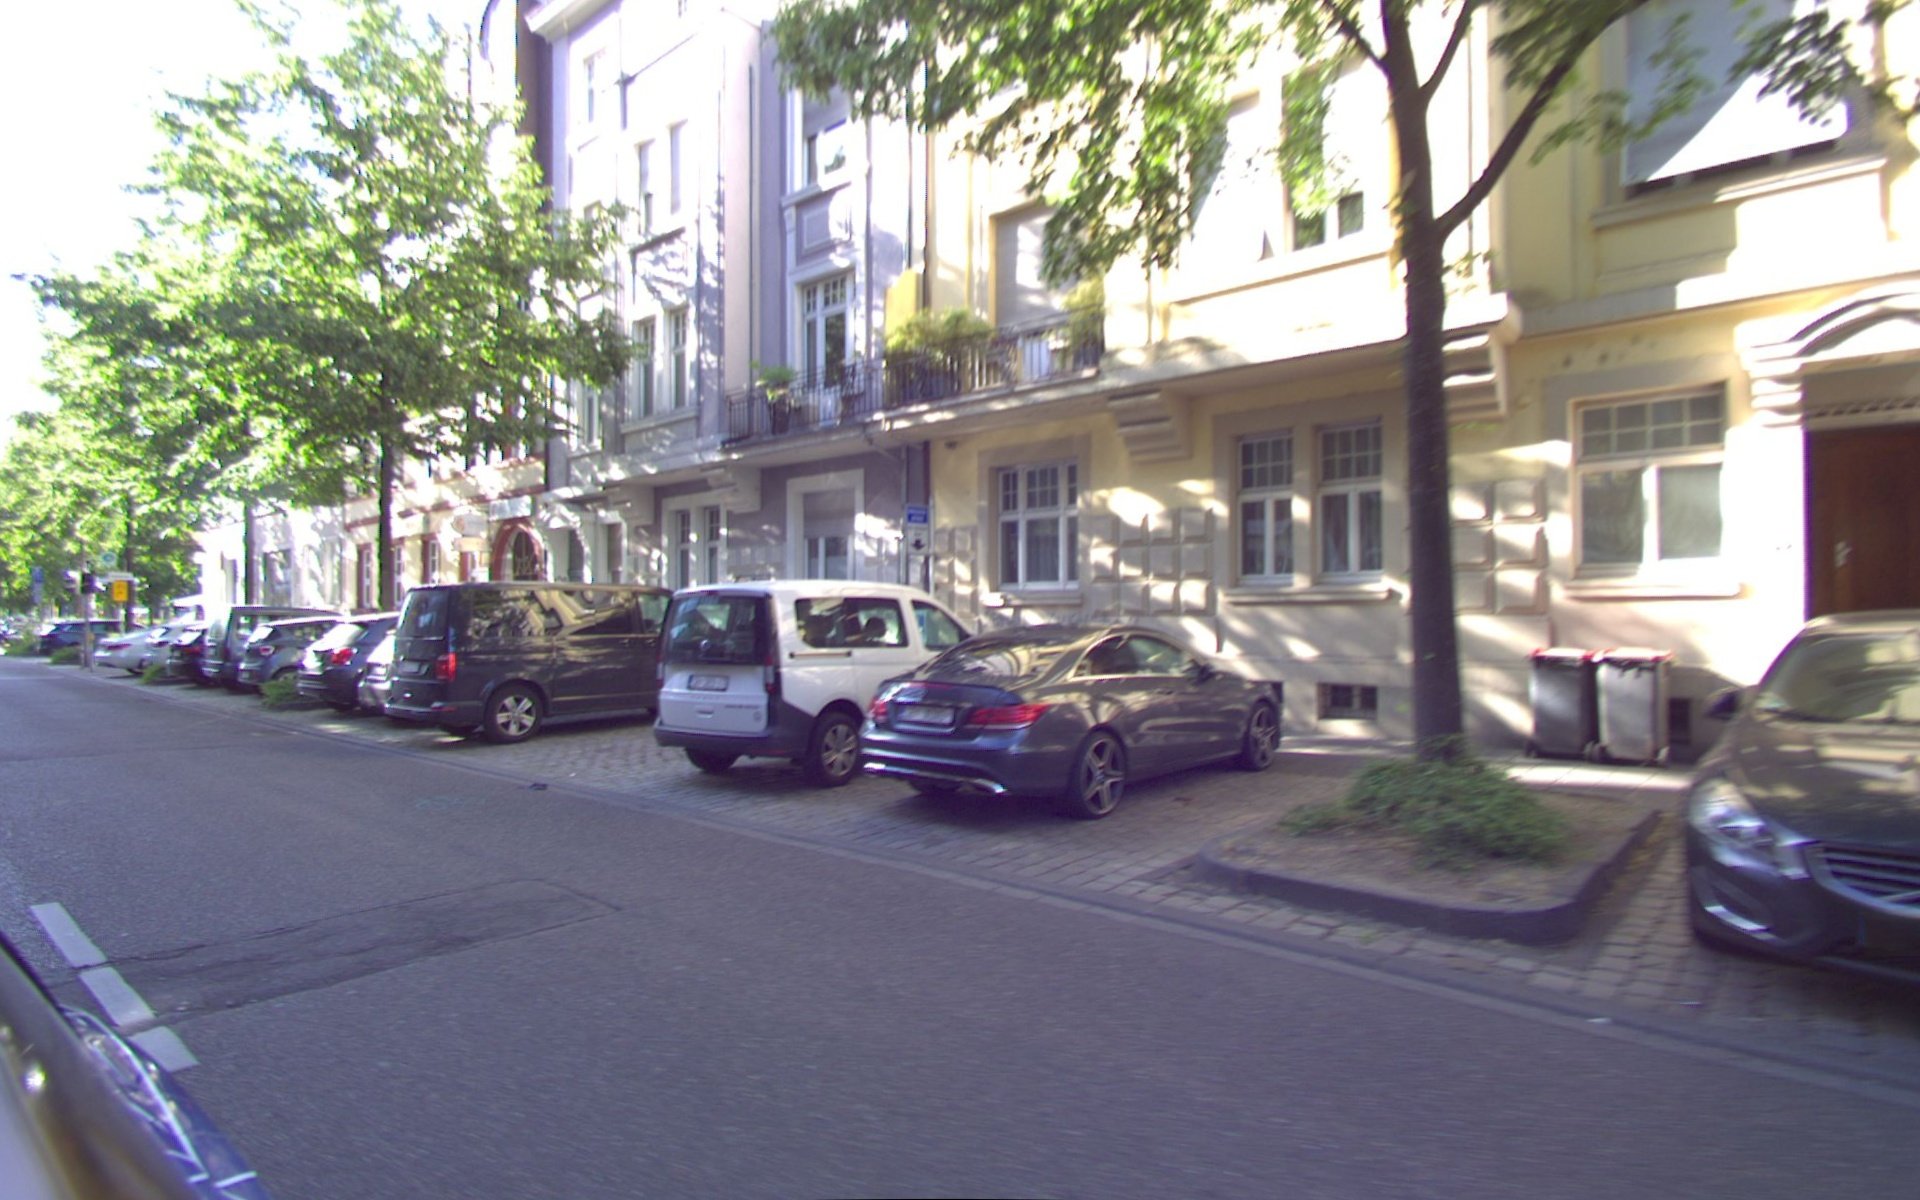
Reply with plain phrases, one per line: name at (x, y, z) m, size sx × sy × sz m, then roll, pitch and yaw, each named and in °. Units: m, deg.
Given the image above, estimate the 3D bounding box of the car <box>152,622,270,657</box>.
car at (-42.902, 2.295, 58.143) m, size 2.055 × 1.959 × 5.301 m, roll -1°, pitch -3°, yaw 15°

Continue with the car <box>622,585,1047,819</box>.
car at (-1.033, 0.854, 10.324) m, size 1.912 × 1.848 × 4.301 m, roll -1°, pitch -2°, yaw 35°

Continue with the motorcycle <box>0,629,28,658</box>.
motorcycle at (-49.238, 2.210, 51.622) m, size 2.282 × 1.434 × 1.004 m, roll 0°, pitch -2°, yaw -21°

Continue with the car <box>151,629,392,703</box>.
car at (-16.164, 1.472, 23.974) m, size 1.959 × 1.556 × 4.302 m, roll -1°, pitch -2°, yaw 34°

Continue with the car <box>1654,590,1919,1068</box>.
car at (4.816, 0.768, 4.737) m, size 1.917 × 1.552 × 4.417 m, roll -2°, pitch -2°, yaw 43°

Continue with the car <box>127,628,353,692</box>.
car at (-19.499, 1.576, 27.592) m, size 1.996 × 1.503 × 4.656 m, roll -3°, pitch -2°, yaw 37°

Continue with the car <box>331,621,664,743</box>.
car at (-6.972, 1.134, 15.639) m, size 1.915 × 1.607 × 4.296 m, roll -2°, pitch -2°, yaw 39°

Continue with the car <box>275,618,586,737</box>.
car at (-8.820, 1.188, 17.175) m, size 1.915 × 1.747 × 4.296 m, roll -2°, pitch -2°, yaw 39°

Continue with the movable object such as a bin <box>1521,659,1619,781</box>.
movable object such as a bin at (5.863, 1.124, 9.727) m, size 0.684 × 1.084 × 0.634 m, roll -2°, pitch -3°, yaw 42°

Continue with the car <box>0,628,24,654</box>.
car at (-60.506, 2.522, 62.201) m, size 1.978 × 1.574 × 3.987 m, roll -1°, pitch -1°, yaw 10°

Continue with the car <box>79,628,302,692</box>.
car at (-21.521, 1.614, 28.479) m, size 1.997 × 1.503 × 4.656 m, roll 0°, pitch 0°, yaw 37°

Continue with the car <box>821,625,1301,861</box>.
car at (1.083, 0.954, 8.599) m, size 1.916 × 1.450 × 4.293 m, roll -2°, pitch -2°, yaw 41°

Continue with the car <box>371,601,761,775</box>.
car at (-5.110, 1.027, 13.628) m, size 1.930 × 1.941 × 4.524 m, roll -2°, pitch -2°, yaw 42°

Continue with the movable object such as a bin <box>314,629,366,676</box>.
movable object such as a bin at (-19.877, 1.653, 32.445) m, size 1.382 × 1.456 × 1.121 m, roll -2°, pitch -2°, yaw 45°

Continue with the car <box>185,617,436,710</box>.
car at (-14.260, 1.311, 22.448) m, size 1.927 × 1.838 × 4.298 m, roll -1°, pitch -2°, yaw 38°

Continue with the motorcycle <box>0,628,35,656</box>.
motorcycle at (-49.416, 2.196, 52.655) m, size 1.724 × 1.434 × 0.832 m, roll 0°, pitch -2°, yaw -22°

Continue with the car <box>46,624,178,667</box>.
car at (-34.617, 1.809, 41.377) m, size 1.945 × 1.652 × 3.943 m, roll -2°, pitch -2°, yaw 43°

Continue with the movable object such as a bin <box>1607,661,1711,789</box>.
movable object such as a bin at (6.380, 1.111, 9.241) m, size 0.684 × 1.084 × 0.634 m, roll -2°, pitch -3°, yaw 42°

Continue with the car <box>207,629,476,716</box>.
car at (-12.484, 1.384, 20.708) m, size 1.911 × 1.556 × 4.304 m, roll -1°, pitch -2°, yaw 33°

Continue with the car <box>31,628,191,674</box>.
car at (-30.992, 1.816, 37.043) m, size 1.945 × 1.556 × 4.291 m, roll -2°, pitch -2°, yaw 43°
